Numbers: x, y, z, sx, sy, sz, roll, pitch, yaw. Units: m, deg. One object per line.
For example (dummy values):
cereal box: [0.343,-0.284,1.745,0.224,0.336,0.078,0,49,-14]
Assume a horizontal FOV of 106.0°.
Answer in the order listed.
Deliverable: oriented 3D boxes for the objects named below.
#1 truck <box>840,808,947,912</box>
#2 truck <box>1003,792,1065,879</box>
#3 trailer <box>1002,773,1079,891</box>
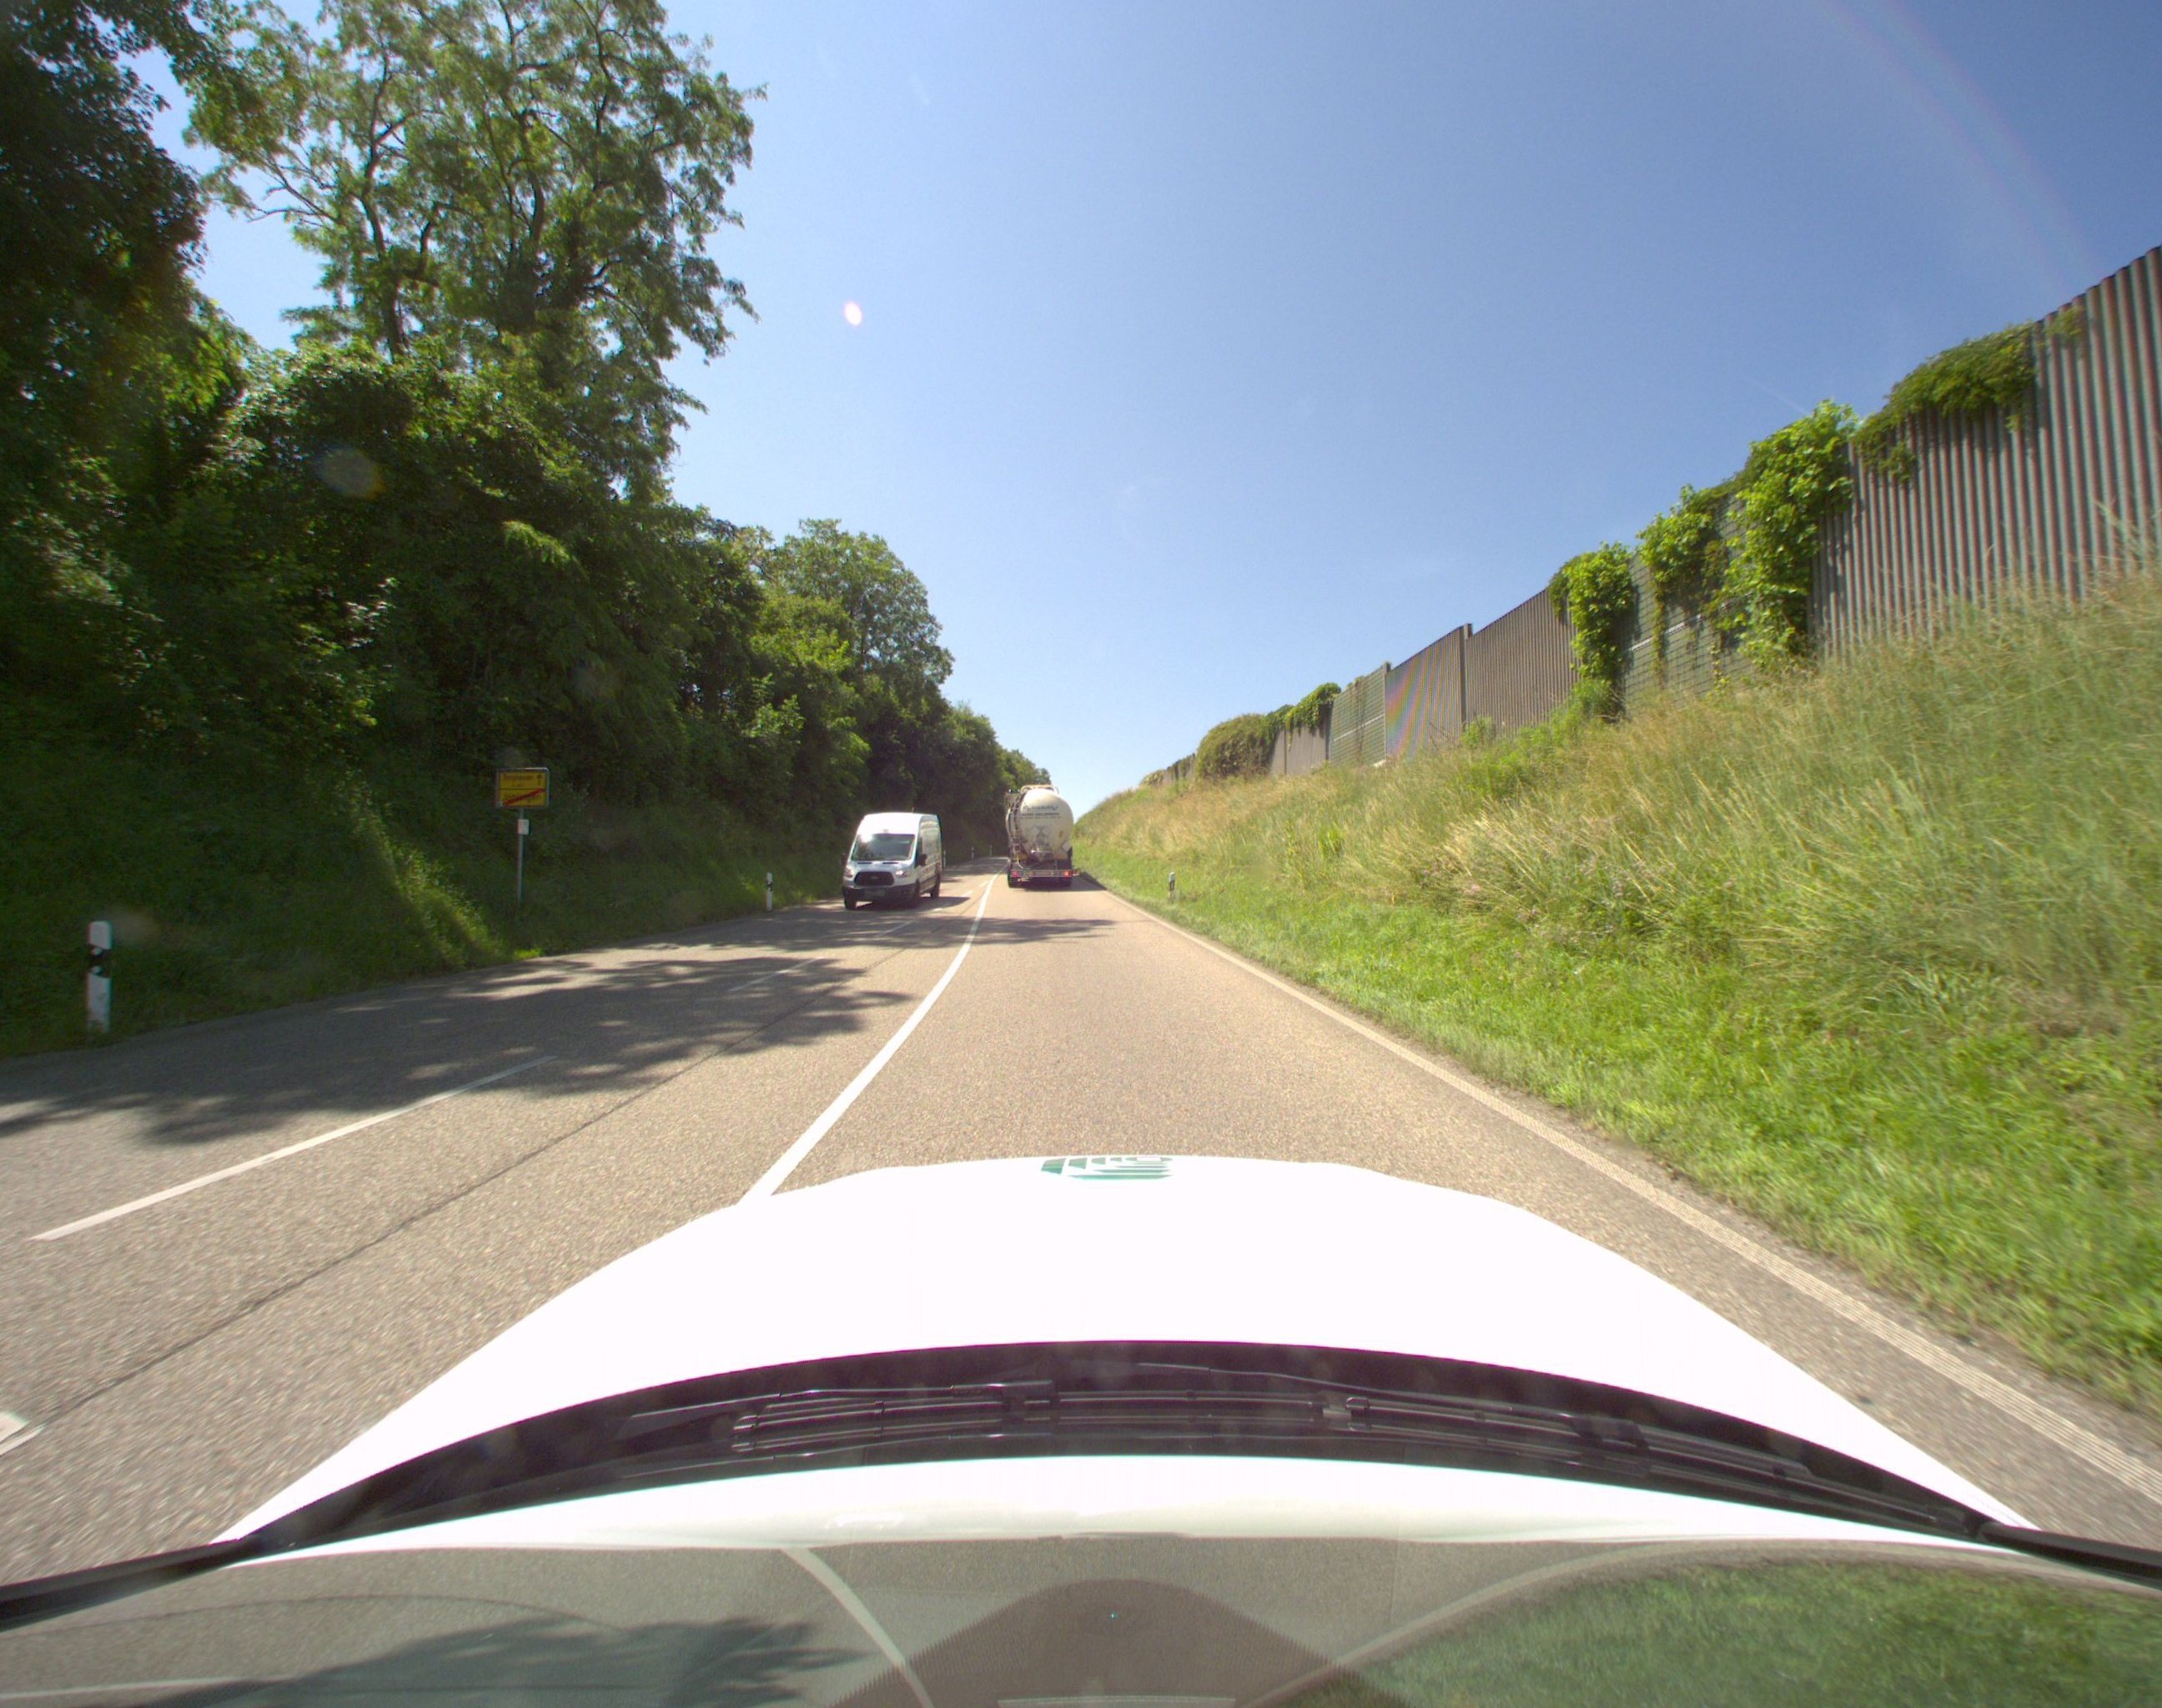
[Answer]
truck: [-5.424,0.132,24.412,2.049,2.687,5.974,-1,0,-3]
truck: [-2.448,-0.924,41.333,2.722,3.929,7.252,-2,1,-5]
trailer: [-1.995,-0.932,35.486,2.657,4.188,11.884,-2,1,-5]
